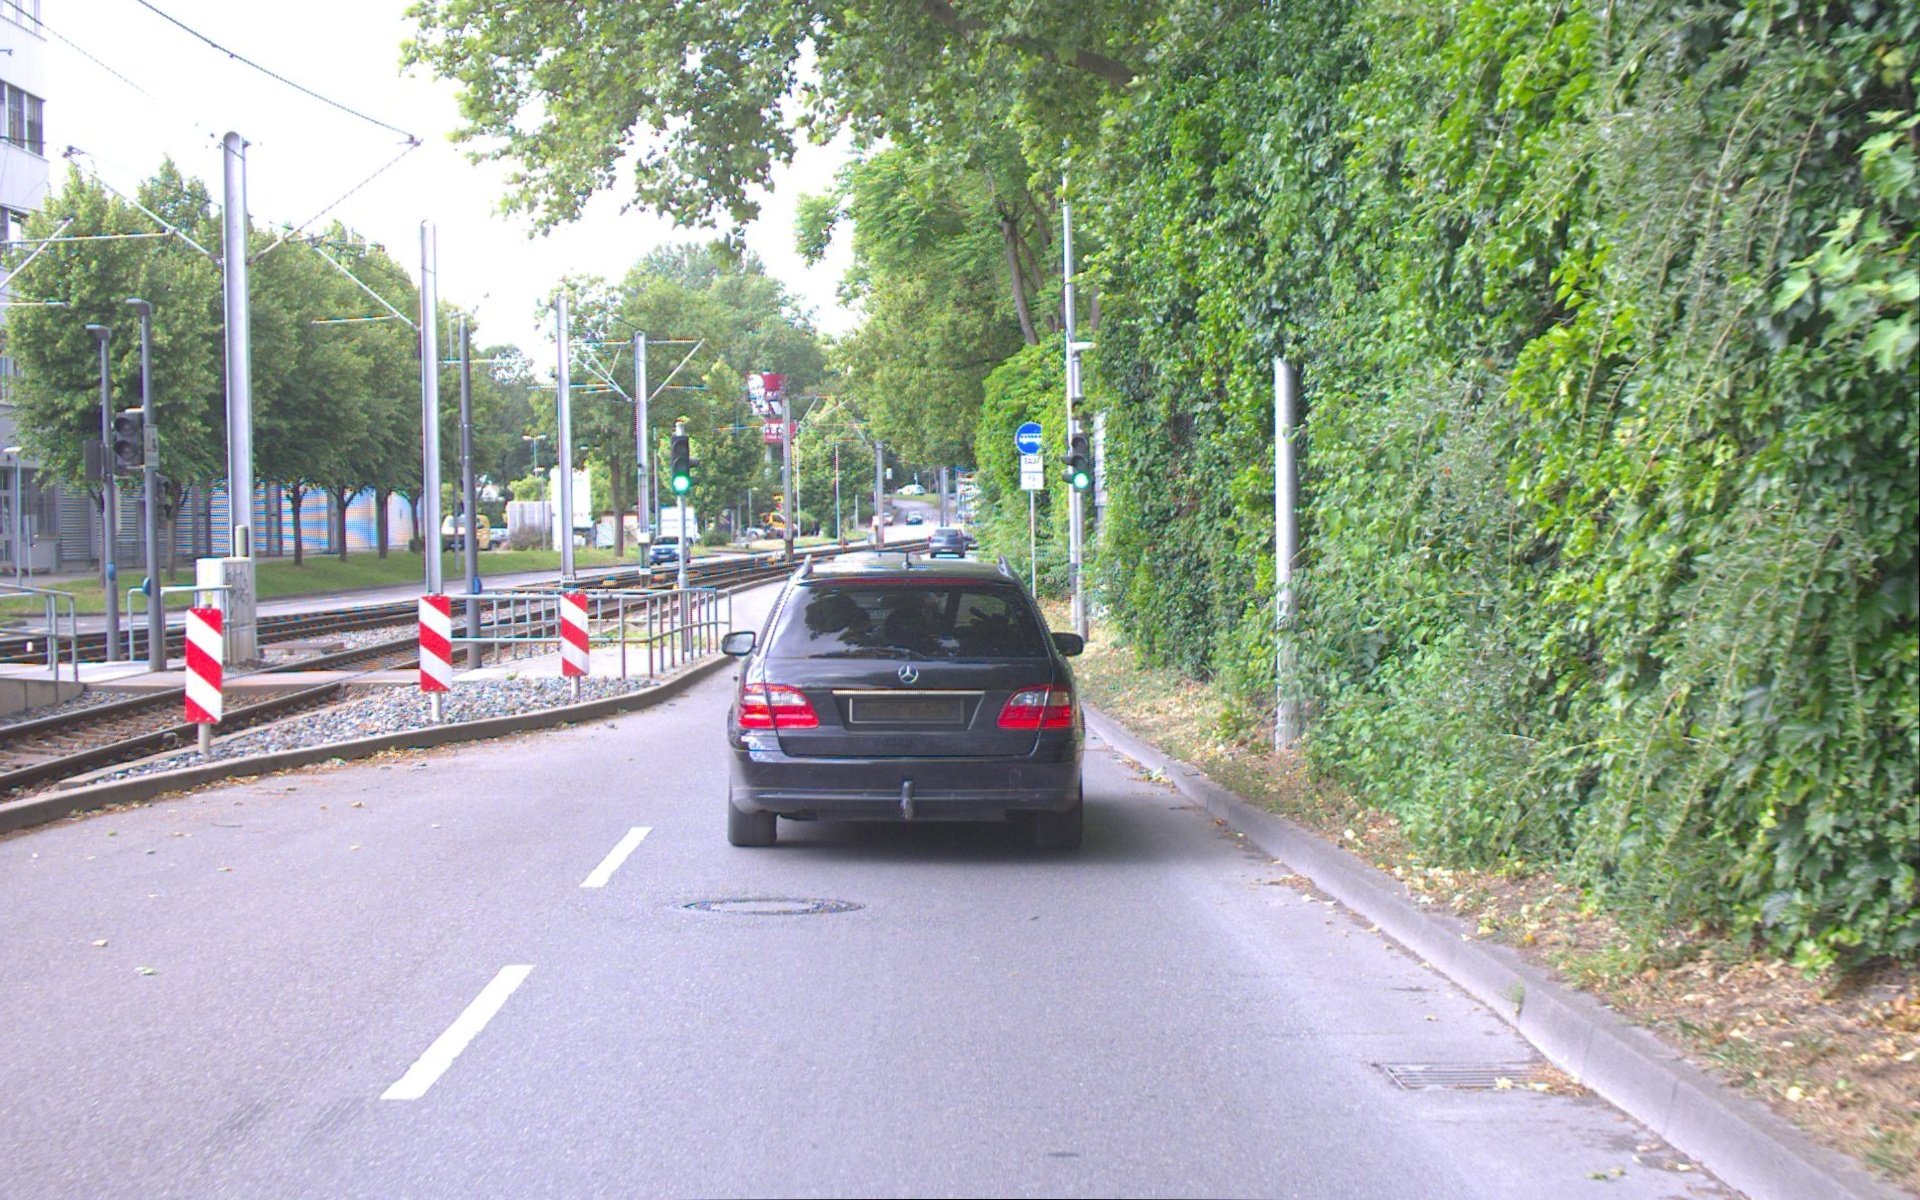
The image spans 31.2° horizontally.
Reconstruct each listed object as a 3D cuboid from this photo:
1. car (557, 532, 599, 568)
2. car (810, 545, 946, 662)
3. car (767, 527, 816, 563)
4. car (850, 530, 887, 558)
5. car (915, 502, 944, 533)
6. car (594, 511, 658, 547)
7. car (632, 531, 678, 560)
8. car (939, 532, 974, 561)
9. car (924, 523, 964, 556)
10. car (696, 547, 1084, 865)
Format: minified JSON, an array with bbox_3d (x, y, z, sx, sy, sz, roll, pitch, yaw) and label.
[{"bbox_3d":[-22.180,-2.891,199.755,1.993,2.007,4.000,-2,1,-1],"label":"car"},{"bbox_3d":[-1.134,0.016,48.220,1.825,1.524,4.416,0,1,-1],"label":"car"},{"bbox_3d":[-7.114,-2.335,145.387,1.825,1.524,3.928,0,1,1],"label":"car"},{"bbox_3d":[-5.033,-3.078,189.681,1.825,1.524,3.986,0,1,1],"label":"car"},{"bbox_3d":[-2.086,-5.632,234.465,1.891,2.007,3.898,-2,1,0],"label":"car"},{"bbox_3d":[-21.466,-4.547,221.224,3.986,2.116,2.000,-3,1,-5],"label":"car"},{"bbox_3d":[-15.011,-2.685,169.376,1.660,1.388,3.718,0,1,4],"label":"car"},{"bbox_3d":[-0.168,-2.897,184.506,1.825,1.524,3.928,0,1,1],"label":"car"},{"bbox_3d":[-0.771,-2.953,167.308,1.825,1.524,4.416,-1,1,1],"label":"car"},{"bbox_3d":[-0.326,0.468,18.475,1.833,1.473,4.416,0,1,0],"label":"car"}]
